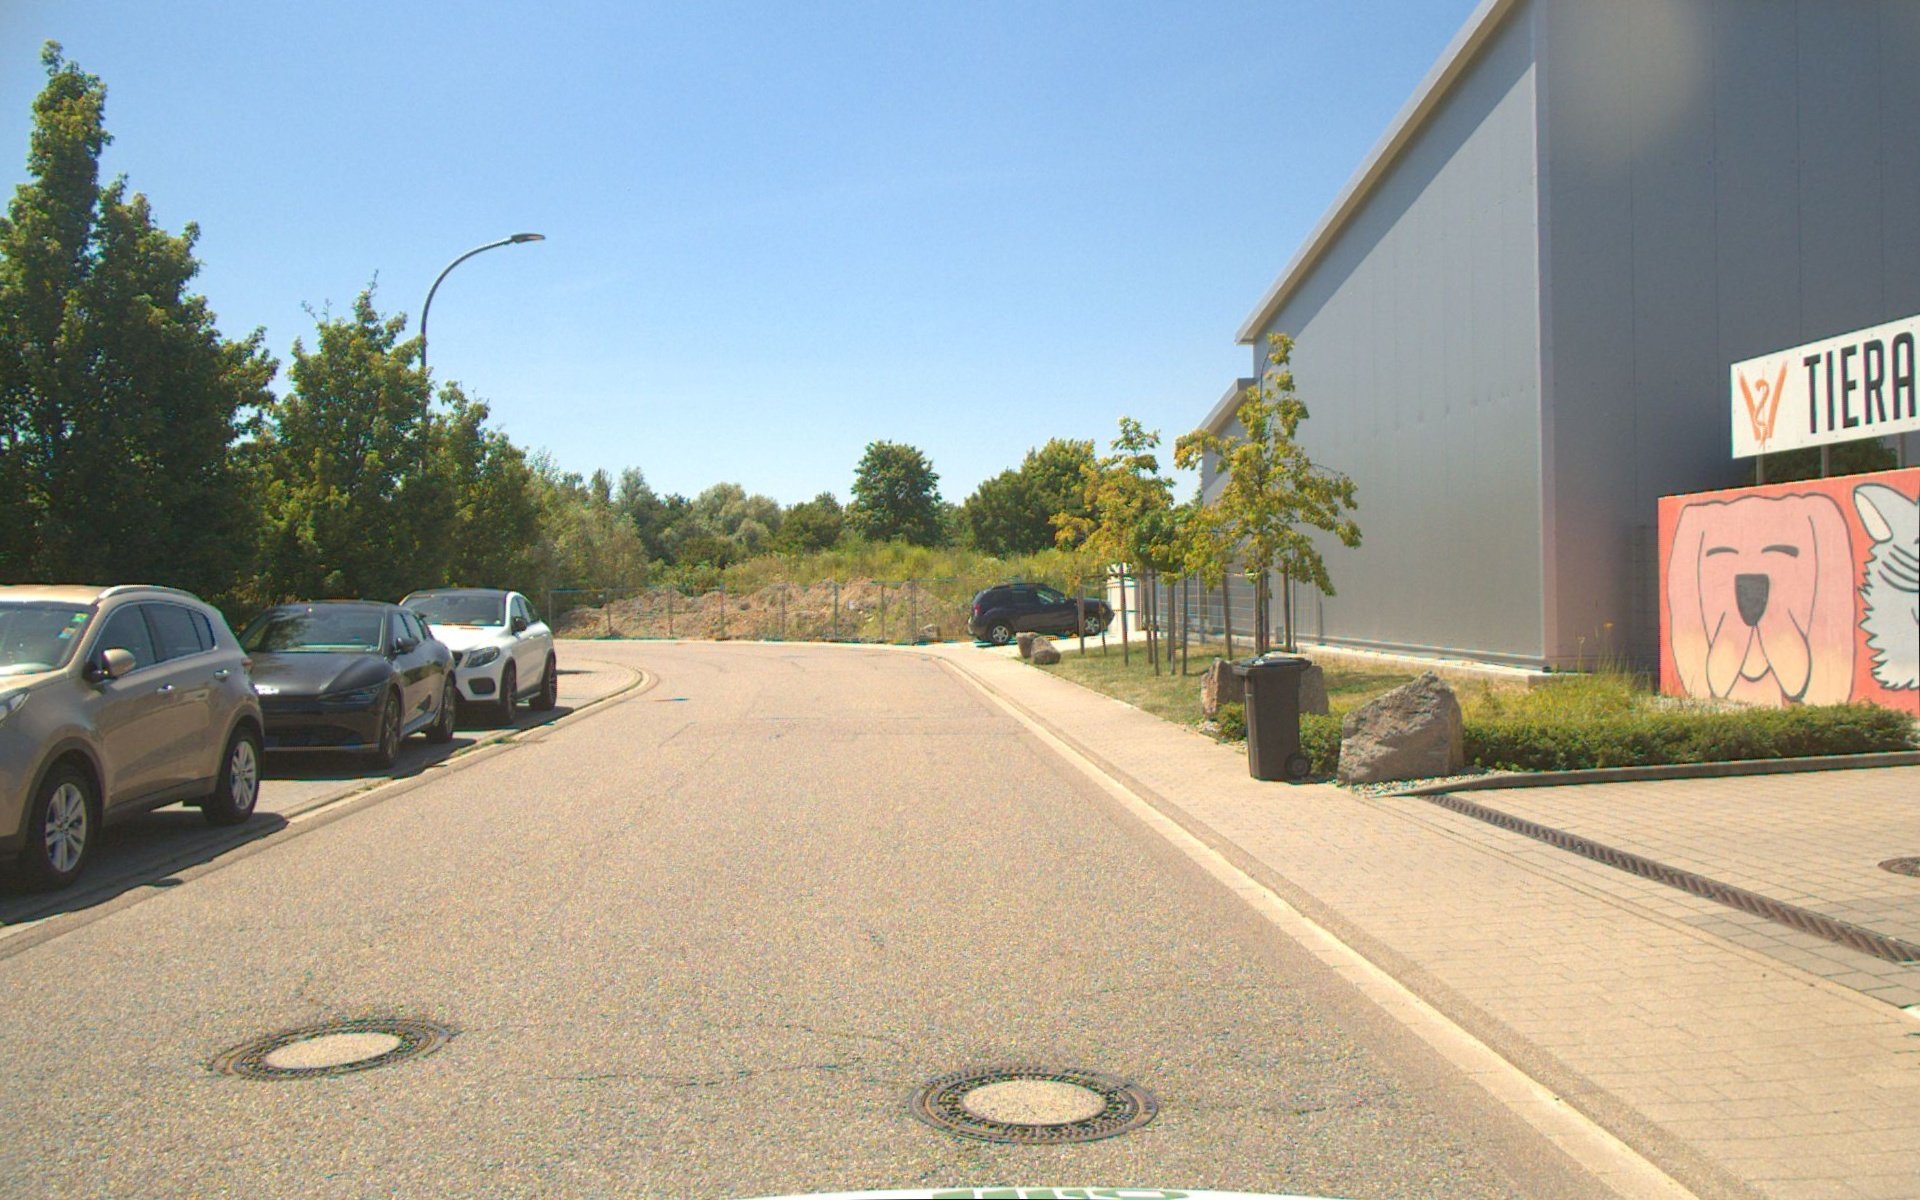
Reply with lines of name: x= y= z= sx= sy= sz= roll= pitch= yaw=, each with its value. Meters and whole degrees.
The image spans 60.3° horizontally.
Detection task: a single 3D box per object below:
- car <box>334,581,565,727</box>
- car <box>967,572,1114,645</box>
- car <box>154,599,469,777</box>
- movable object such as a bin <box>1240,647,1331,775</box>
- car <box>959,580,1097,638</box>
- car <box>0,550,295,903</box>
car: x=-6.731 y=0.646 z=22.371 sx=1.875 sy=1.684 sz=4.751 roll=-2 pitch=0 yaw=-4
car: x=2.282 y=0.234 z=47.754 sx=3.933 sy=1.683 sz=1.856 roll=-6 pitch=1 yaw=-4
car: x=-6.371 y=0.778 z=16.812 sx=1.876 sy=1.518 sz=4.407 roll=0 pitch=0 yaw=-6
movable object such as a bin: x=2.585 y=0.873 z=13.166 sx=0.547 sy=0.963 sz=0.539 roll=-2 pitch=0 yaw=-5
car: x=2.042 y=0.268 z=50.473 sx=3.932 sy=1.487 sz=1.891 roll=-4 pitch=0 yaw=-5
car: x=-5.810 y=0.601 z=10.188 sx=1.875 sy=1.743 sz=4.410 roll=0 pitch=0 yaw=-4
